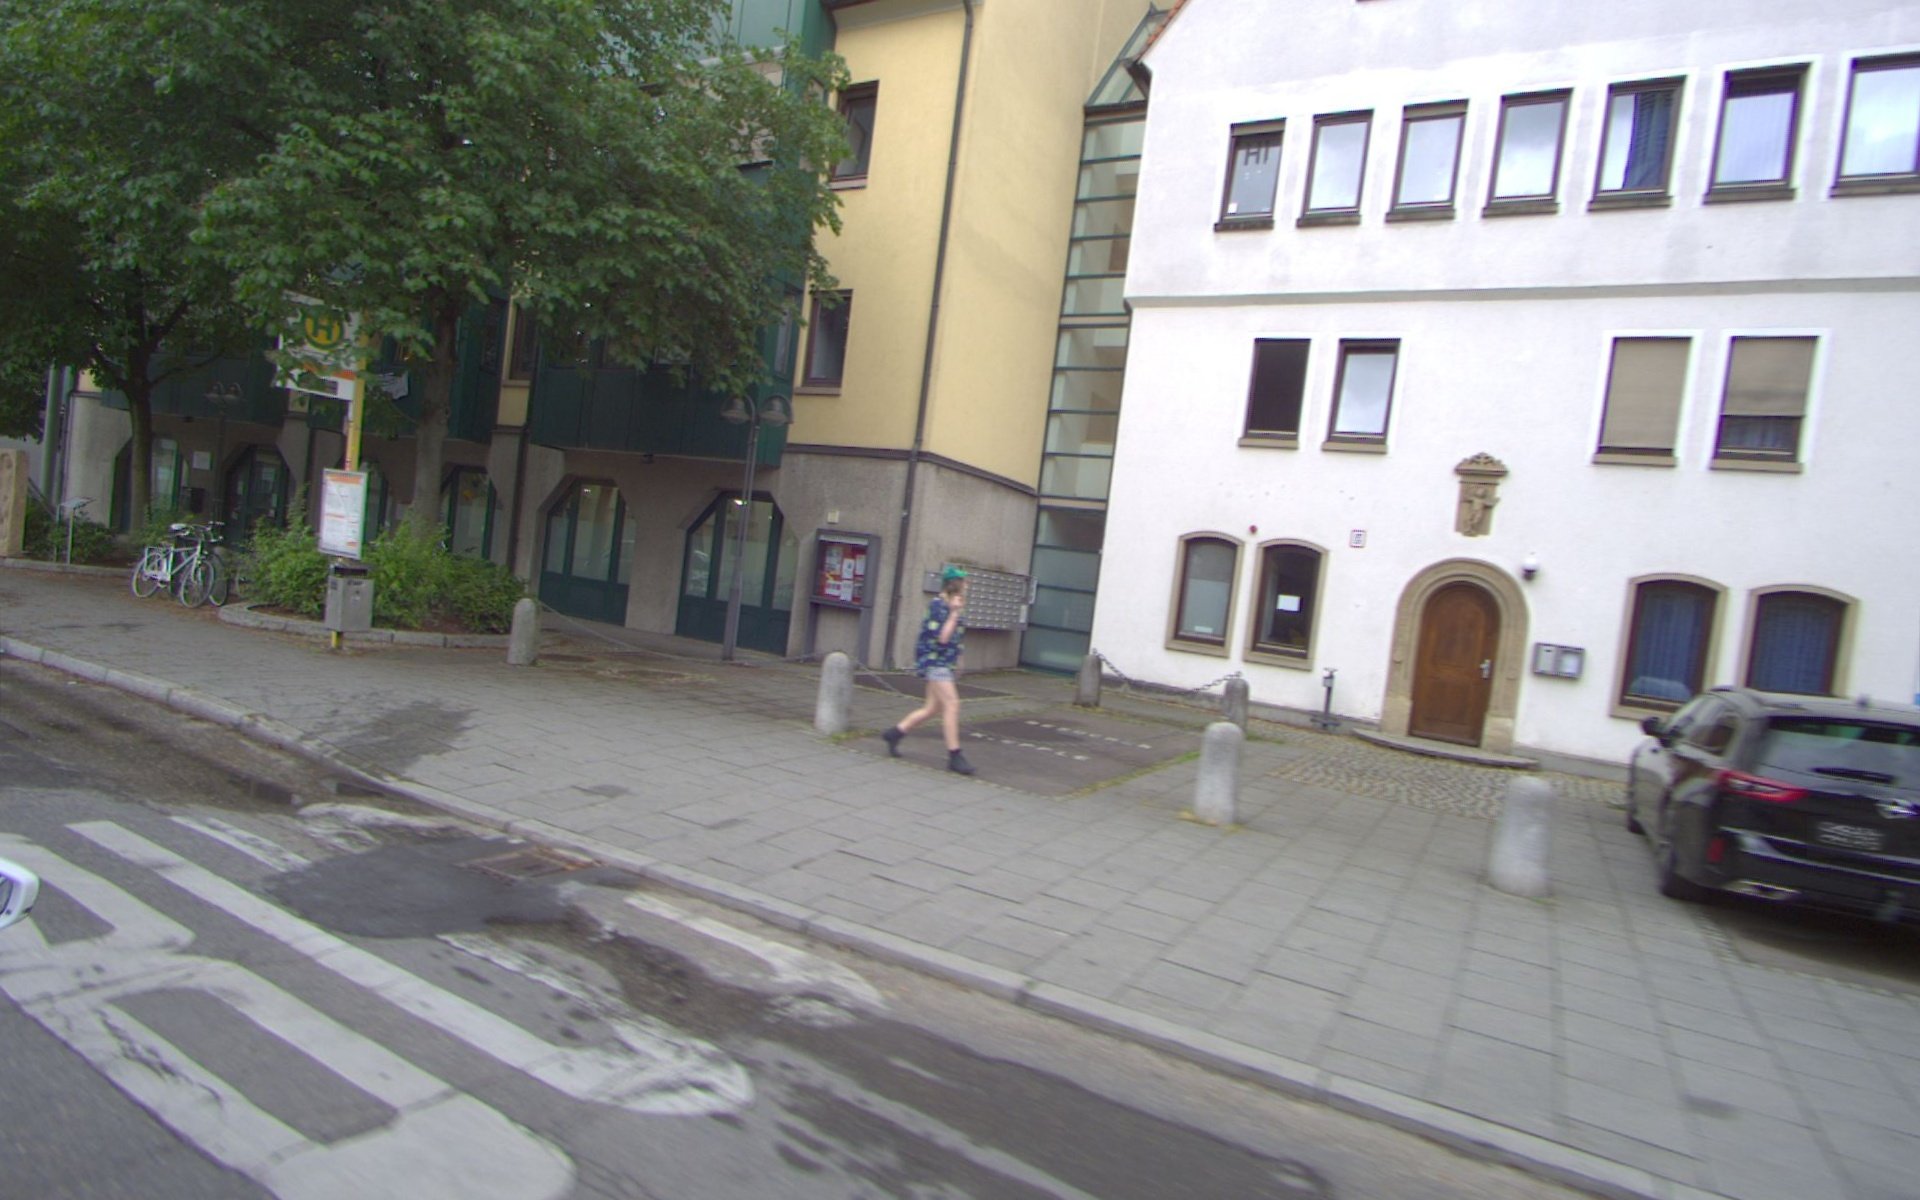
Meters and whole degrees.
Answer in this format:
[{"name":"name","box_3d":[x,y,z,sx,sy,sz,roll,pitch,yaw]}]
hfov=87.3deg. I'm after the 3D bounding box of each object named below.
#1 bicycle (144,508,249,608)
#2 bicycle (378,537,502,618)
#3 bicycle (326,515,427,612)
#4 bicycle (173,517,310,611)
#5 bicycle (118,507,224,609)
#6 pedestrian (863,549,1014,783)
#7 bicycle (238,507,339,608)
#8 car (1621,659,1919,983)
[{"name":"bicycle","box_3d":[-10.468,-0.591,13.768,1.925,1.156,0.333,8,1,30]},{"name":"bicycle","box_3d":[-8.661,-0.380,16.725,2.251,1.083,0.545,8,2,26]},{"name":"bicycle","box_3d":[-9.140,-0.587,15.719,1.925,1.316,0.333,8,1,30]},{"name":"bicycle","box_3d":[-10.358,-0.526,14.474,2.251,1.083,0.545,8,2,26]},{"name":"bicycle","box_3d":[-10.550,-0.582,13.423,1.925,1.155,0.333,8,1,30]},{"name":"pedestrian","box_3d":[-0.178,0.518,8.186,0.847,1.738,0.601,8,2,38]},{"name":"bicycle","box_3d":[-10.123,-0.659,15.141,1.925,1.316,0.333,8,1,30]},{"name":"car","box_3d":[6.204,1.352,7.419,1.821,1.594,4.515,7,1,30]}]
